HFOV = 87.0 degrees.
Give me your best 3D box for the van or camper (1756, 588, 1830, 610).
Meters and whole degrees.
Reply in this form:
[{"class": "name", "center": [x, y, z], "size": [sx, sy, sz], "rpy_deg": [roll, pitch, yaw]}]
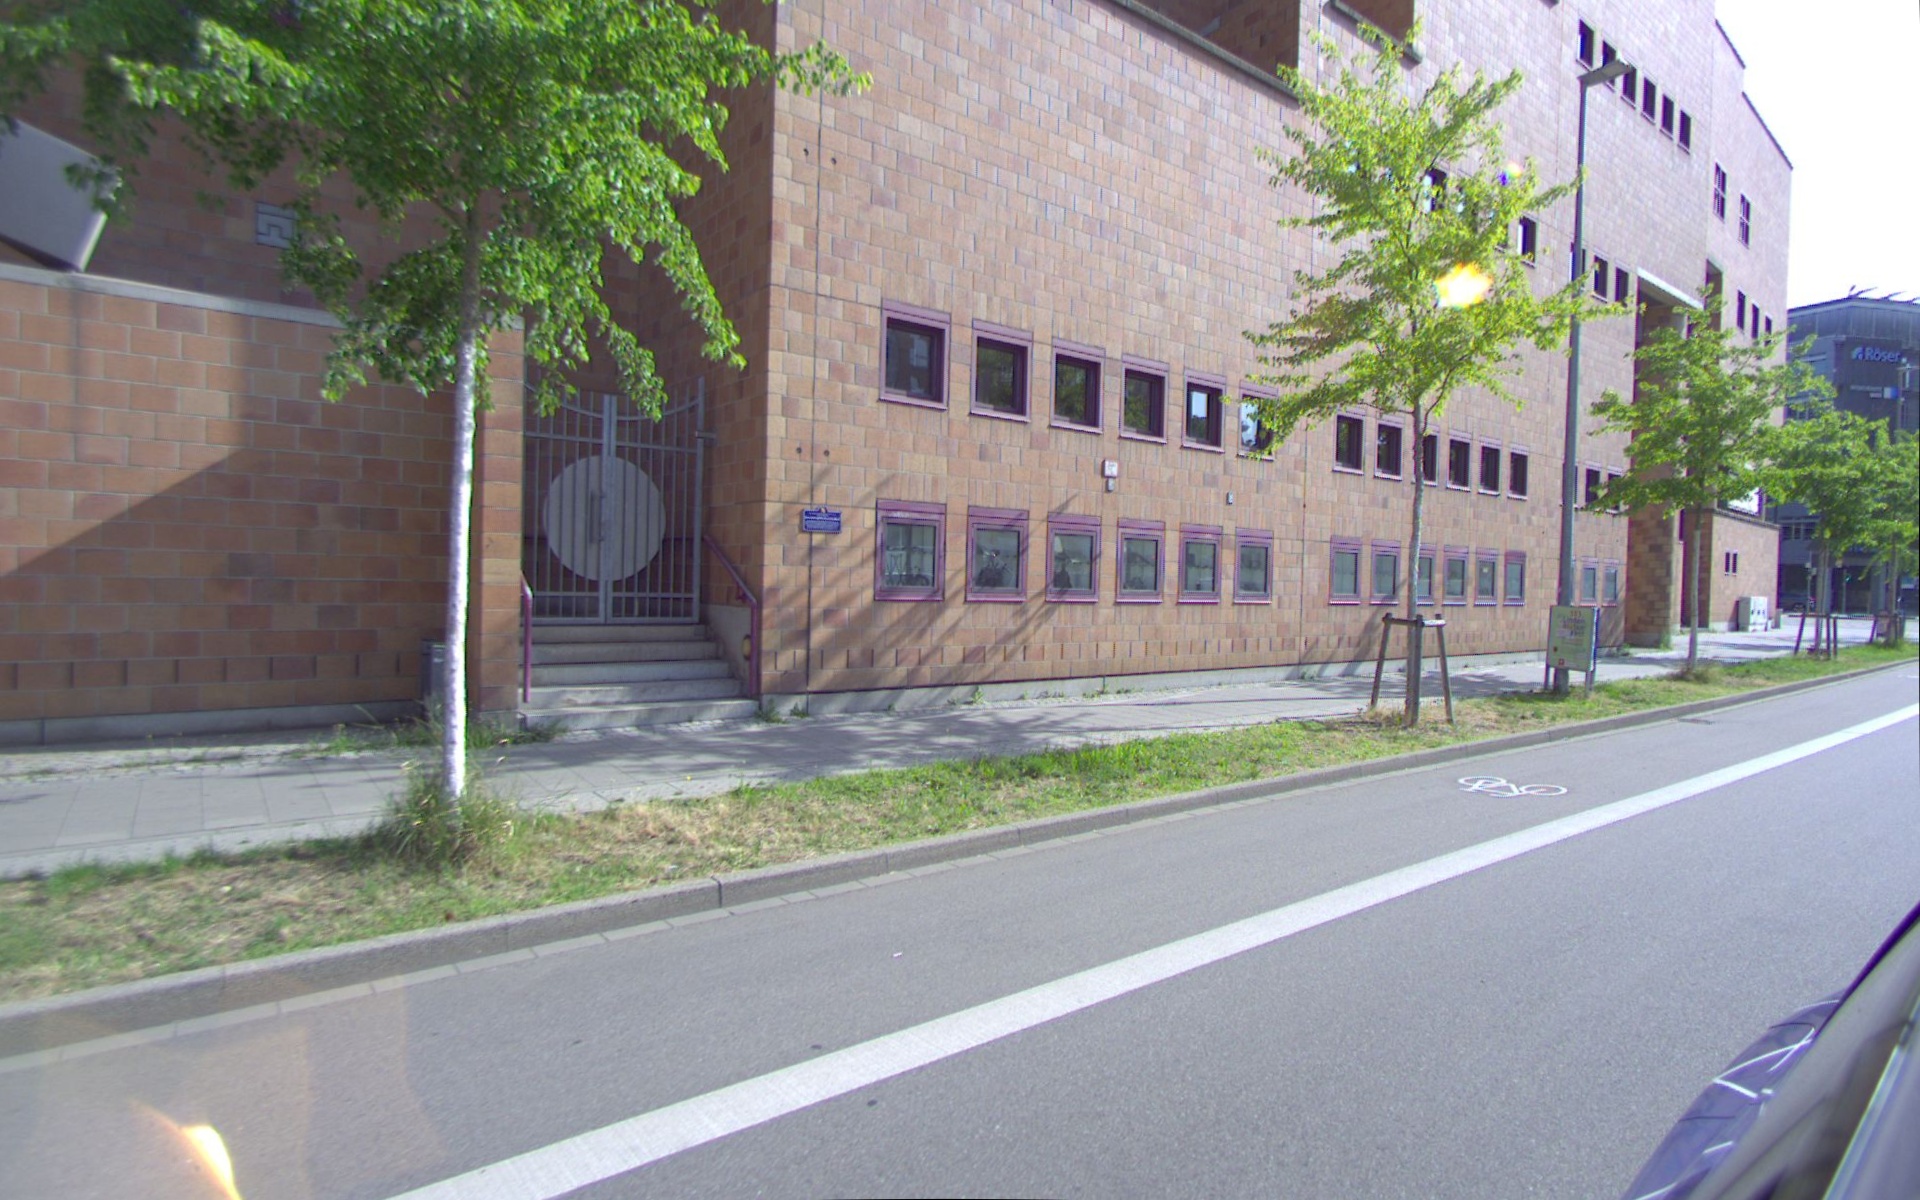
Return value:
[{"class": "van or camper", "center": [62.791, -0.066, 76.392], "size": [4.191, 1.460, 1.974], "rpy_deg": [3, 2, 37]}]
